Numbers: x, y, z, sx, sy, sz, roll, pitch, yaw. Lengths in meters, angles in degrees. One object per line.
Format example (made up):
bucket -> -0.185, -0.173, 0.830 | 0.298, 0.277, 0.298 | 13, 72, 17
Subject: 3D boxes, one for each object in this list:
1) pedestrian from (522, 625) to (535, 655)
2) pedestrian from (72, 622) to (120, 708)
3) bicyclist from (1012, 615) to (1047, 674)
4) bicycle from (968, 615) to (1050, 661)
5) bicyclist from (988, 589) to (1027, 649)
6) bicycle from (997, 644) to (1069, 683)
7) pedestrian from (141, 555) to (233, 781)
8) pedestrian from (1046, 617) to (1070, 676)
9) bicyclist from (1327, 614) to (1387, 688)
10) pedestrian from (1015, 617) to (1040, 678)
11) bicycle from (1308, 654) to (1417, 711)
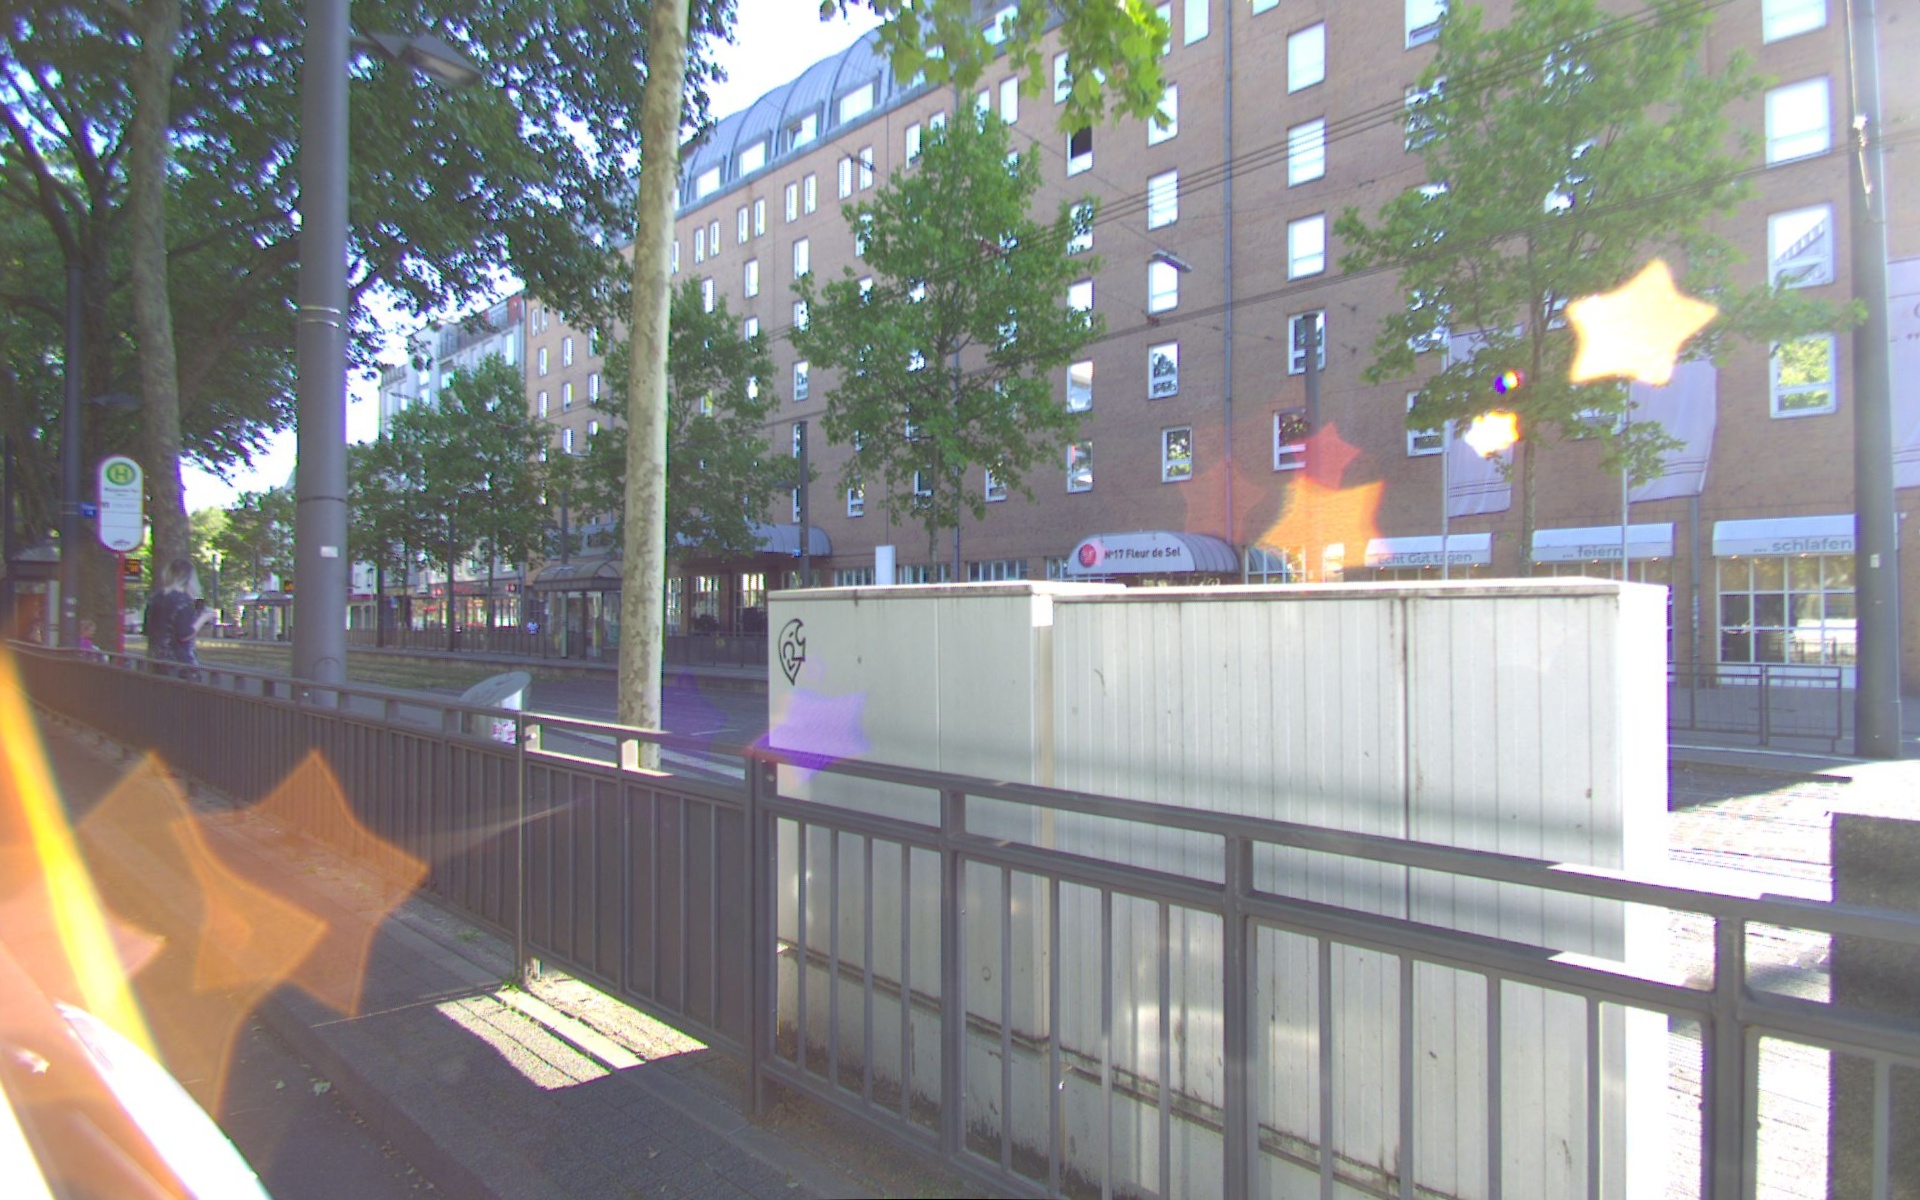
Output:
pedestrian -> -25.226, 2.334, 59.219 | 0.574, 1.748, 0.497 | -2, -2, 43
pedestrian -> -13.957, 1.036, 16.359 | 0.534, 1.327, 0.525 | -1, 0, -37
bicyclist -> 1.907, 1.208, 27.803 | 0.756, 1.586, 0.655 | -1, -2, 34
bicycle -> 1.292, 1.020, 27.055 | 2.105, 1.151, 0.679 | -4, -4, 34
bicyclist -> 1.266, 0.513, 27.087 | 0.756, 1.572, 0.676 | -4, -4, 33
bicycle -> 1.993, 1.718, 27.732 | 1.897, 1.006, 0.647 | -1, -2, 34
pedestrian -> -6.597, 0.551, 8.636 | 0.524, 1.848, 0.535 | -1, 0, 45
pedestrian -> 2.919, 1.380, 30.081 | 0.437, 1.748, 0.545 | 1, -2, -42
bicyclist -> 8.225, 1.032, 20.979 | 1.031, 1.485, 0.647 | -1, -1, 36
pedestrian -> 1.969, 1.386, 29.422 | 0.472, 1.748, 0.545 | 1, -2, -42
bicycle -> 8.306, 1.683, 20.922 | 2.009, 1.058, 0.646 | -1, -1, 37
